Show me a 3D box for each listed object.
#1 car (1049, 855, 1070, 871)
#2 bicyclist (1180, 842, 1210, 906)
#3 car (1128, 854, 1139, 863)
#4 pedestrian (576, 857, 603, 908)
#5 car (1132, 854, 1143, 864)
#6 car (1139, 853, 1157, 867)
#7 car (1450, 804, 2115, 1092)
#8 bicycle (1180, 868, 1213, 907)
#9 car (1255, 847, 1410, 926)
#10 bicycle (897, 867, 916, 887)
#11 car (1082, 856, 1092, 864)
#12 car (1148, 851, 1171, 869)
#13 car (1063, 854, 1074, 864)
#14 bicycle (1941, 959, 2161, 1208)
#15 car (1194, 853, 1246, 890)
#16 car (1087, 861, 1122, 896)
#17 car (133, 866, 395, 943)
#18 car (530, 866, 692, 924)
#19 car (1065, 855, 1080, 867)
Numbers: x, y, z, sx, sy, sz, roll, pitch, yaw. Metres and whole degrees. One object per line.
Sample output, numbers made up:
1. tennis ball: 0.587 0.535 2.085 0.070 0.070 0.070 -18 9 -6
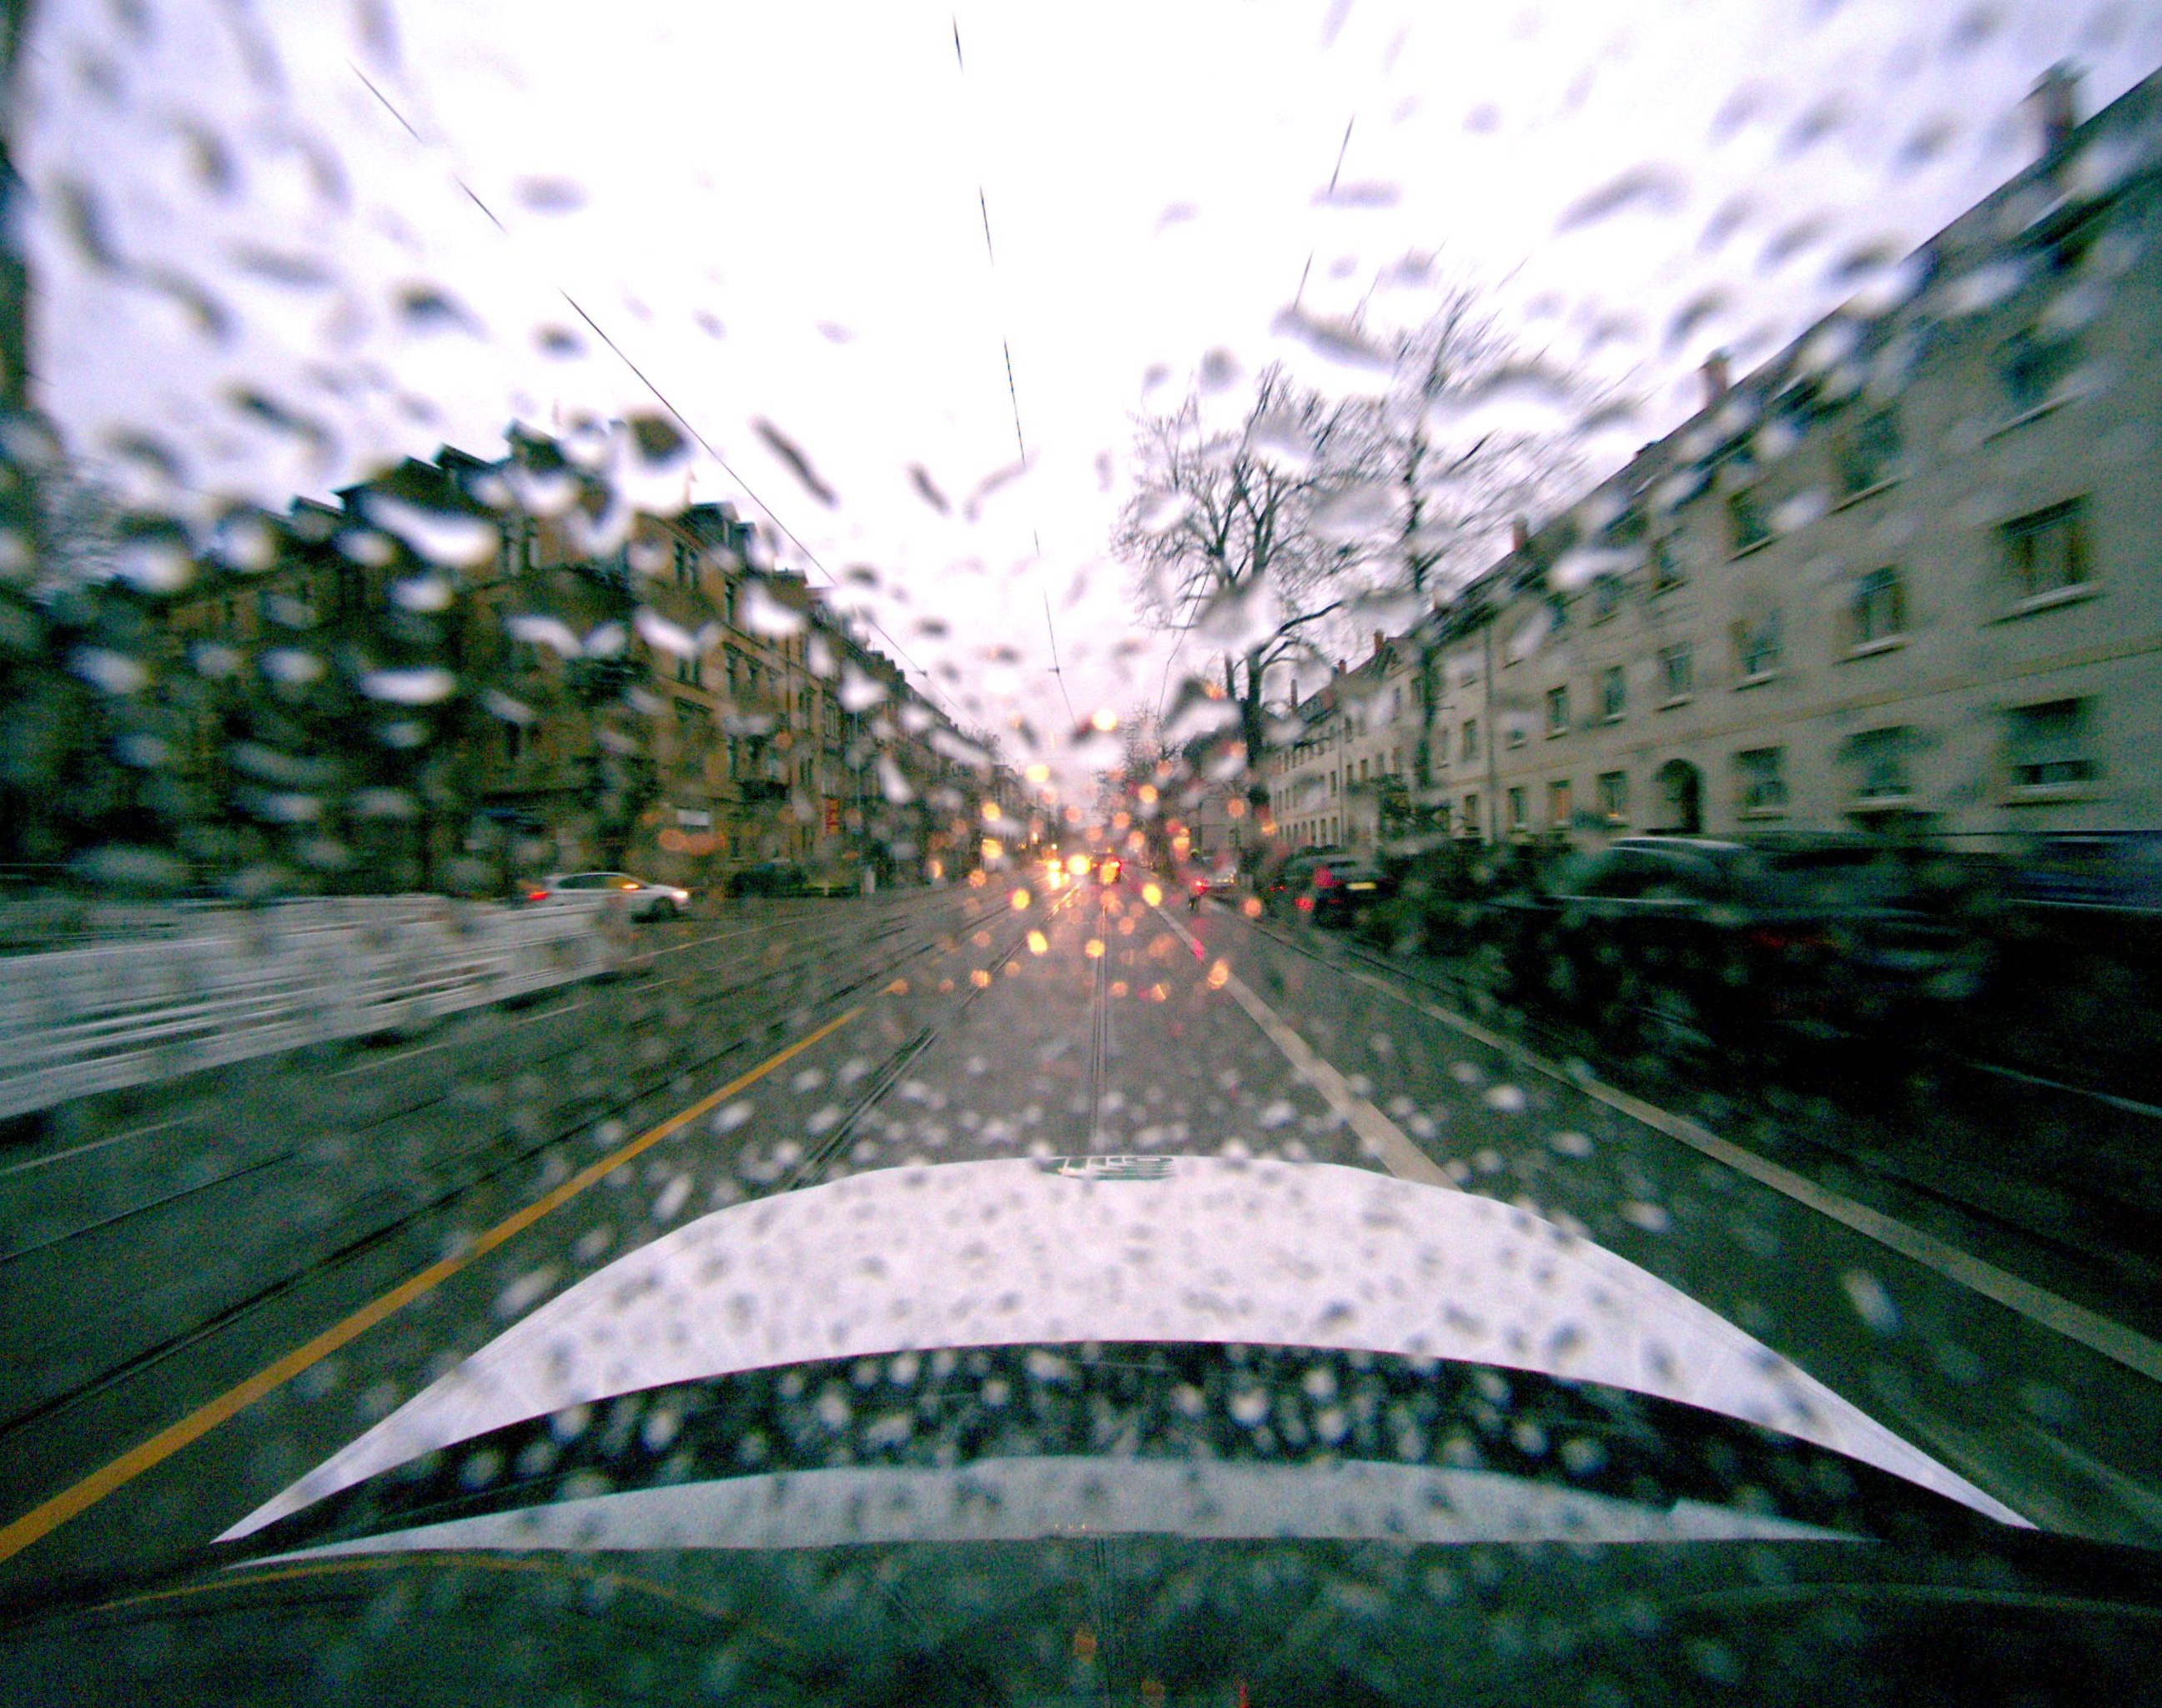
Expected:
1. car: -2.238 0.931 86.604 1.916 1.662 4.001 -1 0 2
2. bicyclist: 3.151 0.552 22.502 0.727 1.736 0.766 -1 0 2
3. car: 9.683 0.832 150.951 1.778 1.509 4.110 -1 0 2
4. pedestrian: -17.386 0.988 28.832 0.722 1.773 0.764 -1 0 -27
5. car: 9.524 0.812 137.301 1.778 1.509 4.110 -1 0 2
6. car: 7.509 0.665 91.914 1.778 1.509 4.110 -1 0 2
7. car: 5.034 0.545 6.945 1.898 1.610 4.565 -1 0 3
8. bicycle: 3.158 0.896 22.440 0.728 1.007 1.765 -1 0 3
9. car: 5.324 0.636 17.891 1.874 1.420 4.340 -3 0 -2
10. bicycle: -9.377 1.226 43.791 0.494 1.007 1.765 -1 0 3
11. car: 1.146 1.167 160.056 1.916 1.662 4.001 -1 0 2
12. car: 7.076 0.555 73.886 1.778 1.509 4.110 -1 0 2
13. car: -2.309 0.971 154.244 1.916 1.720 4.001 -1 0 2
14. bicycle: 4.962 0.904 3.284 1.996 0.916 0.467 -6 -1 20
15. car: 6.059 0.735 35.980 1.778 1.509 4.111 -1 0 3
16. car: 1.394 1.405 47.365 1.793 1.871 4.023 1 0 5
17. car: -19.060 1.104 19.219 1.706 1.530 4.025 -2 0 28
18. car: -14.495 1.207 25.179 4.191 1.526 1.978 -1 0 -35
19. car: -1.214 0.988 114.100 1.916 1.662 4.001 -1 0 2
